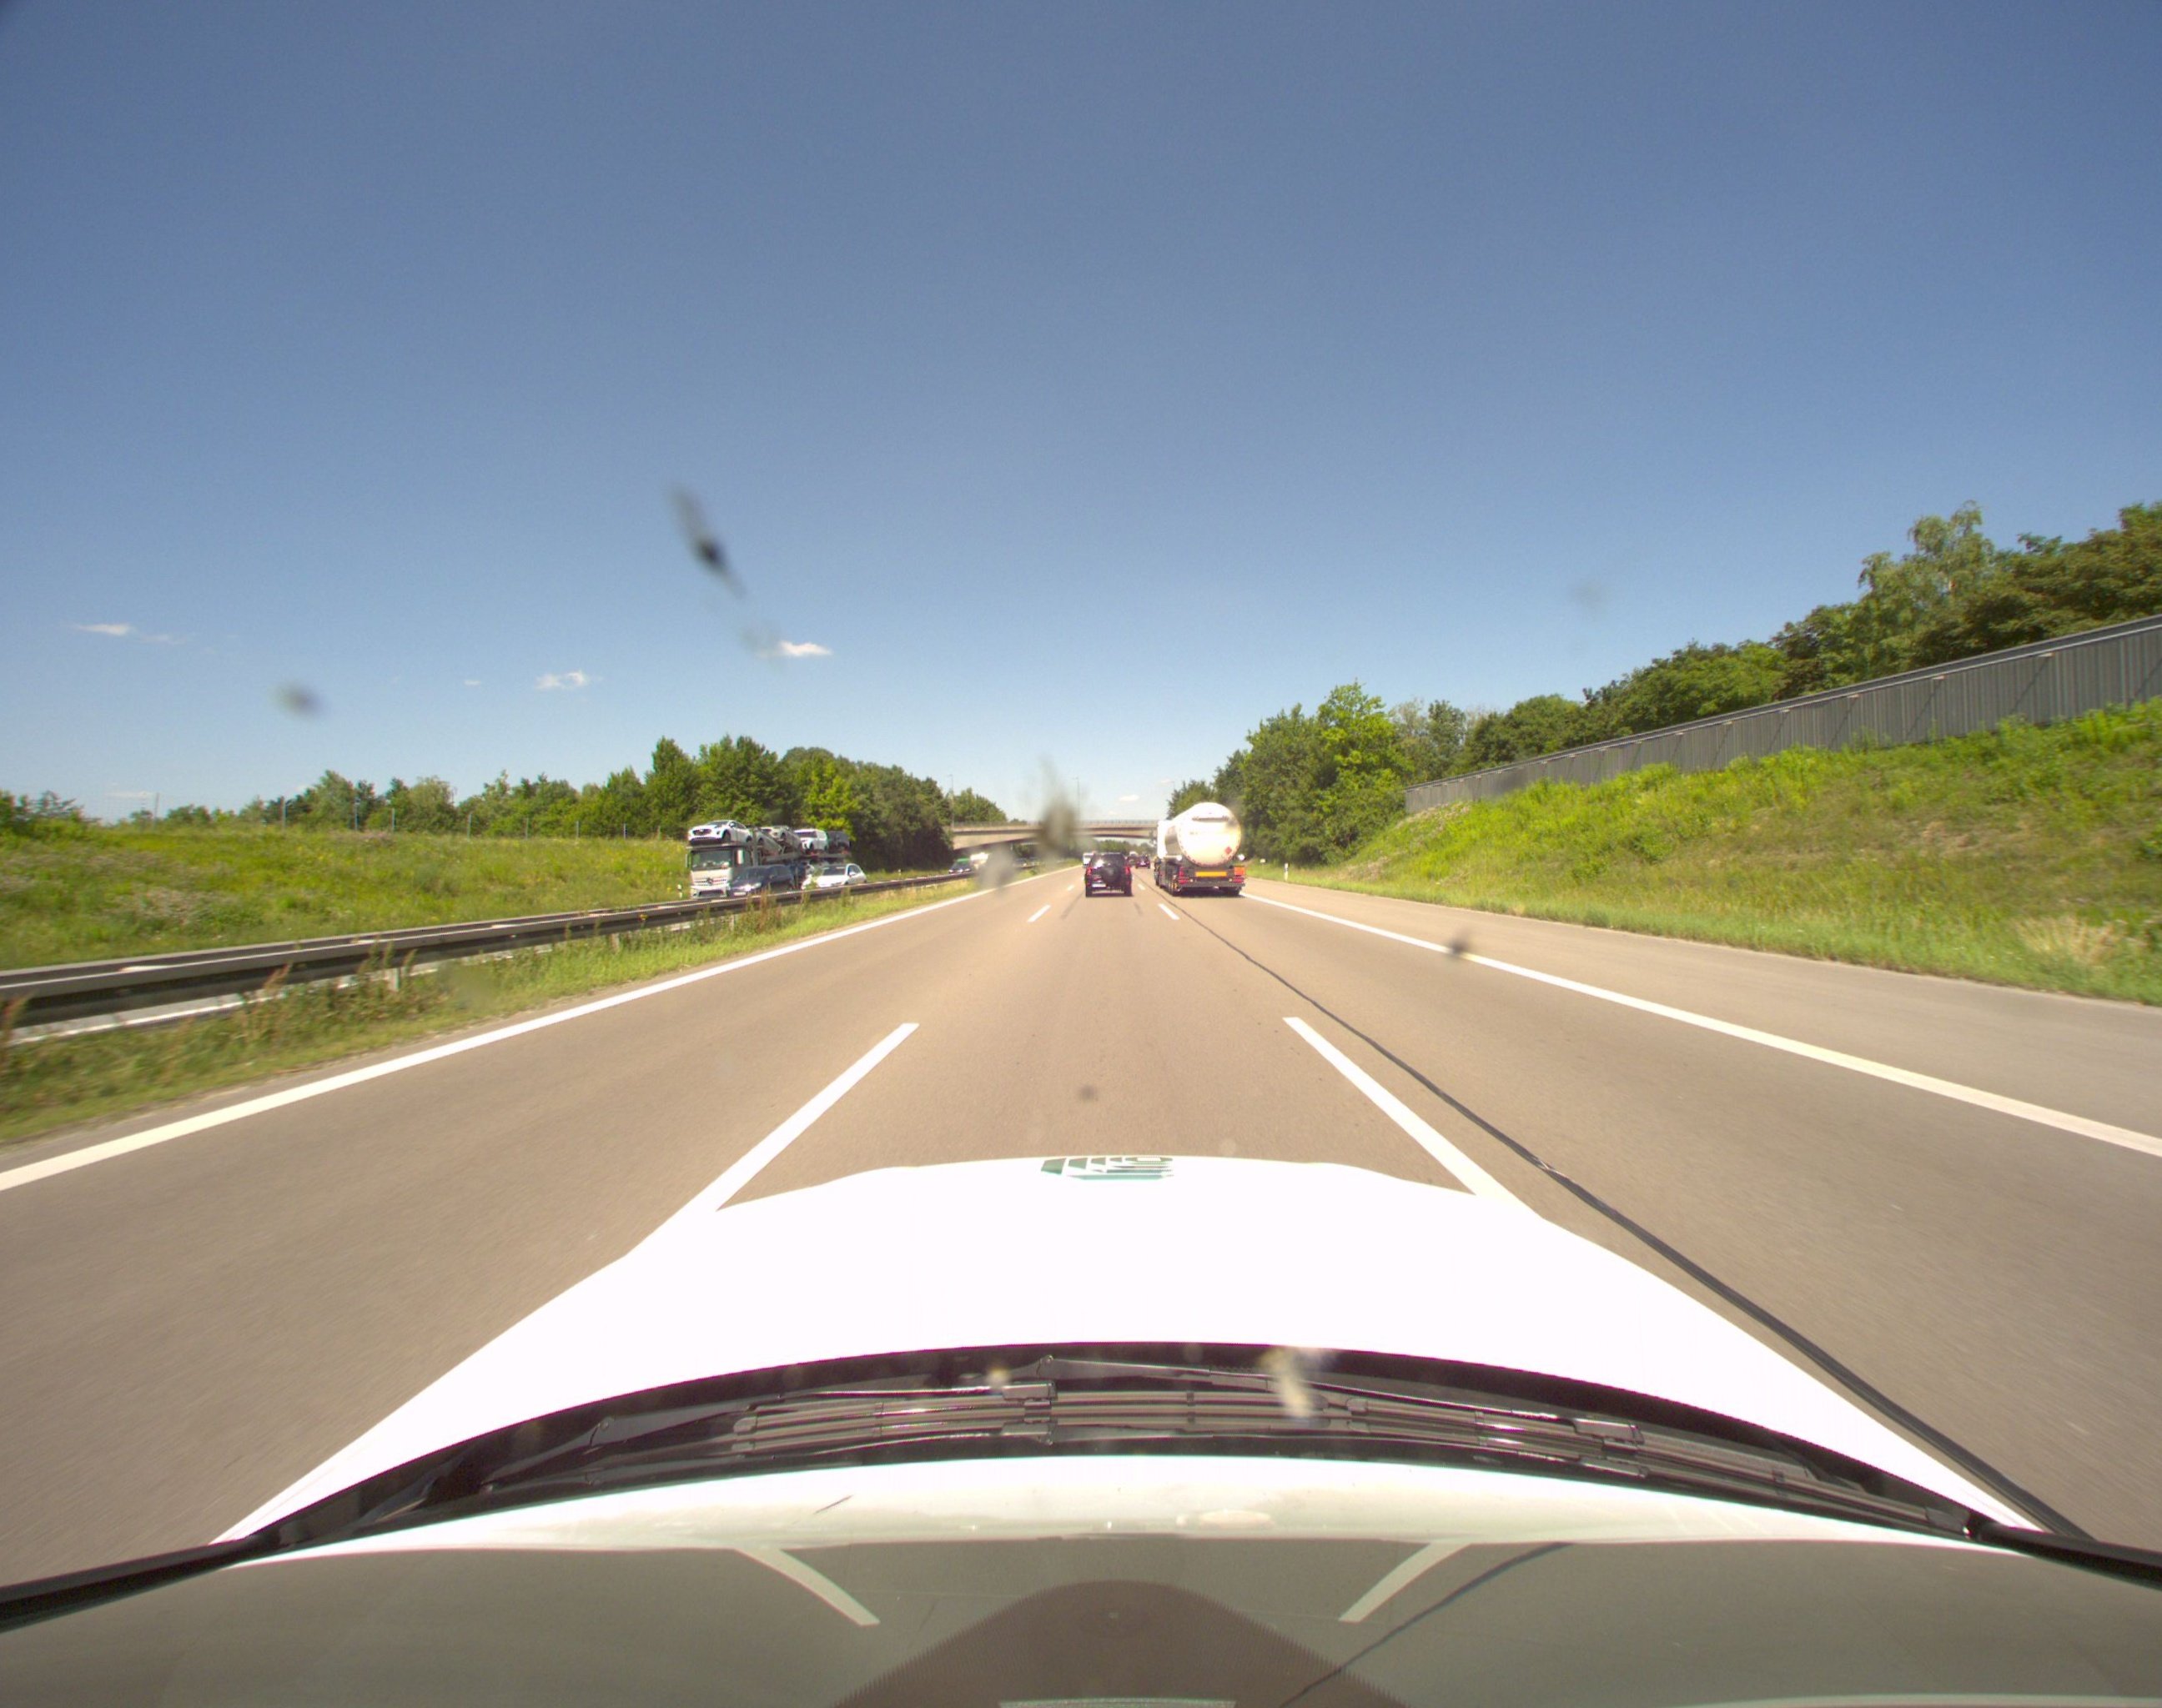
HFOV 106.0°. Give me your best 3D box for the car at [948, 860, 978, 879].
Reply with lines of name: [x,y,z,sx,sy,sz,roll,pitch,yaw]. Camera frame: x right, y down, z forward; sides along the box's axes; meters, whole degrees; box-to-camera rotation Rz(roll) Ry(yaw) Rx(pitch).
car: [-9.646,1.273,67.067,1.709,1.390,4.002,-2,0,2]

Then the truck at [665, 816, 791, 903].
truck: [-18.439,0.281,43.207,3.230,4.050,7.395,-3,0,0]

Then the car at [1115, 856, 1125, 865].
car: [8.616,1.446,179.768,1.986,1.750,4.207,-2,0,2]

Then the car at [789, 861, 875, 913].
car: [-10.502,1.352,34.777,1.986,2.014,4.915,-2,-1,2]

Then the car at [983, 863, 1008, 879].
car: [-8.829,1.799,84.248,1.842,1.574,4.424,-2,-1,2]

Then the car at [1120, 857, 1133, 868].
car: [6.625,1.247,117.909,1.835,1.611,4.003,-2,-1,3]

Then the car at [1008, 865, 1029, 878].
car: [-7.965,2.214,104.499,1.985,1.604,5.093,-2,0,3]

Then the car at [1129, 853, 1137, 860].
car: [13.968,0.632,218.475,1.806,1.746,4.000,-2,0,1]

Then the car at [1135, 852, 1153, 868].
car: [7.508,0.737,97.533,1.986,1.684,4.001,-2,-1,2]

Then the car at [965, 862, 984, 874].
car: [-15.003,1.956,115.249,1.839,1.606,4.813,-2,0,2]

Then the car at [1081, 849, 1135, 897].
car: [1.033,0.707,31.711,1.900,1.665,4.001,-2,0,1]

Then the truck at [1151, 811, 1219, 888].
truck: [4.837,-0.188,38.953,2.628,3.375,6.490,-1,0,2]

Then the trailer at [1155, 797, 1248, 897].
trailer: [4.607,-0.215,33.361,2.637,3.390,11.159,-1,0,3]

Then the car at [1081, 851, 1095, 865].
car: [1.086,0.644,128.262,1.987,2.013,4.949,-3,-1,0]

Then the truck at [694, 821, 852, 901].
truck: [-18.375,0.382,50.663,3.201,4.050,16.674,-3,0,0]

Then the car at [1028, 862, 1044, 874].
car: [-6.627,2.016,120.902,1.907,1.601,4.436,-2,0,2]

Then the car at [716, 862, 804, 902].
car: [-14.502,1.224,37.112,1.986,1.613,4.582,-2,0,2]

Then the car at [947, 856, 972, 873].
car: [-13.038,1.112,87.575,1.807,1.809,4.383,-2,0,1]

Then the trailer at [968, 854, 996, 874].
trailer: [-14.777,1.452,121.940,2.721,2.687,8.635,-2,0,2]
